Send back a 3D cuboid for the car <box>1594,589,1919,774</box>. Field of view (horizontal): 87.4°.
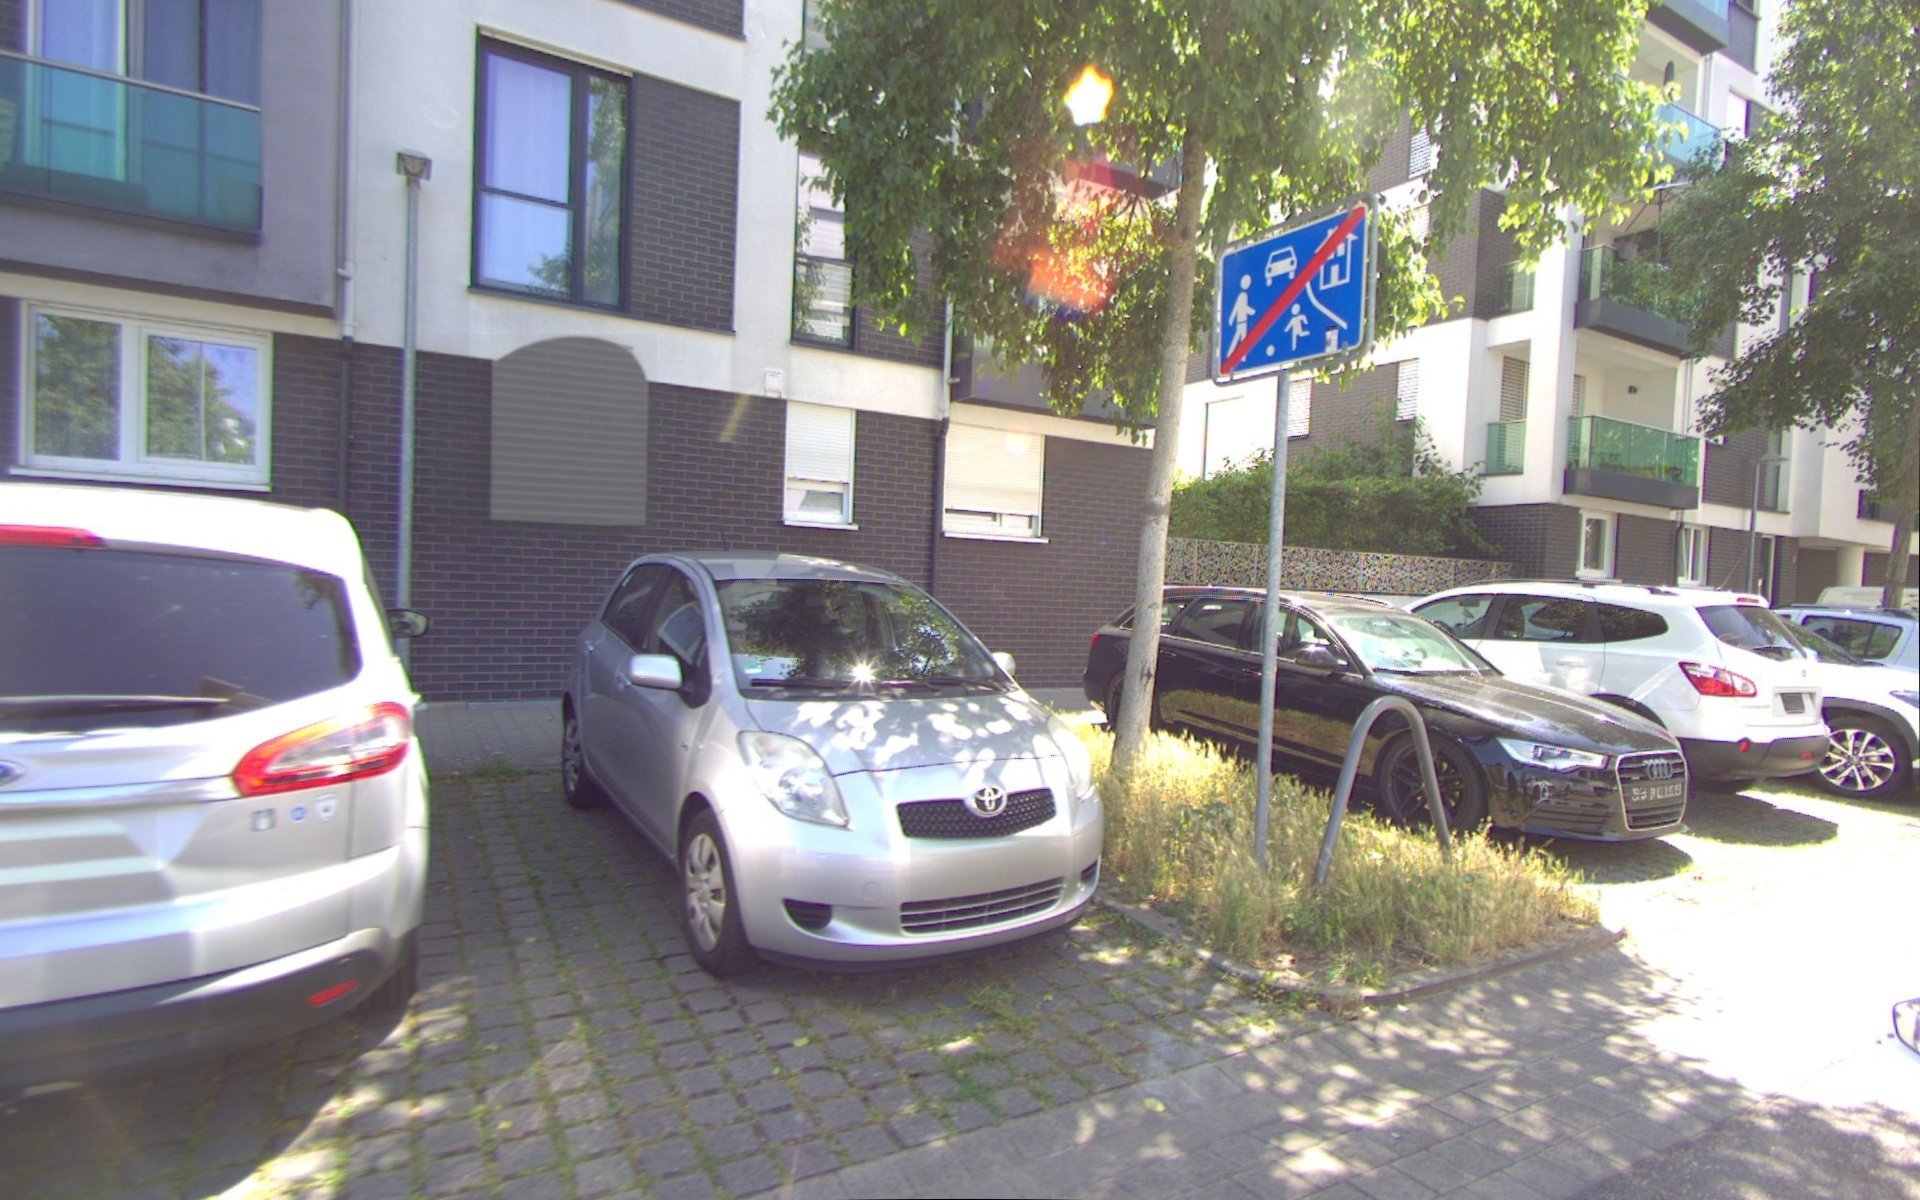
[{"bbox_3d":[9.739,0.833,11.531,1.830,1.698,3.662,2,2,-30],"label":"car"}]

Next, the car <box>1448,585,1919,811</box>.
[{"bbox_3d":[7.606,0.806,10.000,1.946,1.615,4.528,2,3,-34],"label":"car"}]

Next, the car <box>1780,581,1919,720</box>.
[{"bbox_3d":[16.183,0.837,15.271,2.159,2.139,5.321,2,1,-27],"label":"car"}]

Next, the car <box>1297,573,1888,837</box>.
[{"bbox_3d":[5.229,0.689,8.931,1.925,1.651,3.964,2,2,-27],"label":"car"}]

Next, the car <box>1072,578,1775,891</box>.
[{"bbox_3d":[3.046,0.695,7.885,1.807,1.476,4.828,2,3,-29],"label":"car"}]

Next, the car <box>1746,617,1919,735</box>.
[{"bbox_3d":[13.817,1.082,13.737,1.977,1.509,4.397,2,1,-31],"label":"car"}]

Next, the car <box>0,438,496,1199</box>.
[{"bbox_3d":[-3.319,0.404,4.091,2.019,1.654,5.001,1,2,-31],"label":"car"}]

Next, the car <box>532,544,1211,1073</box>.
[{"bbox_3d":[-0.915,0.551,5.292,1.803,1.551,4.226,1,3,-32],"label":"car"}]
